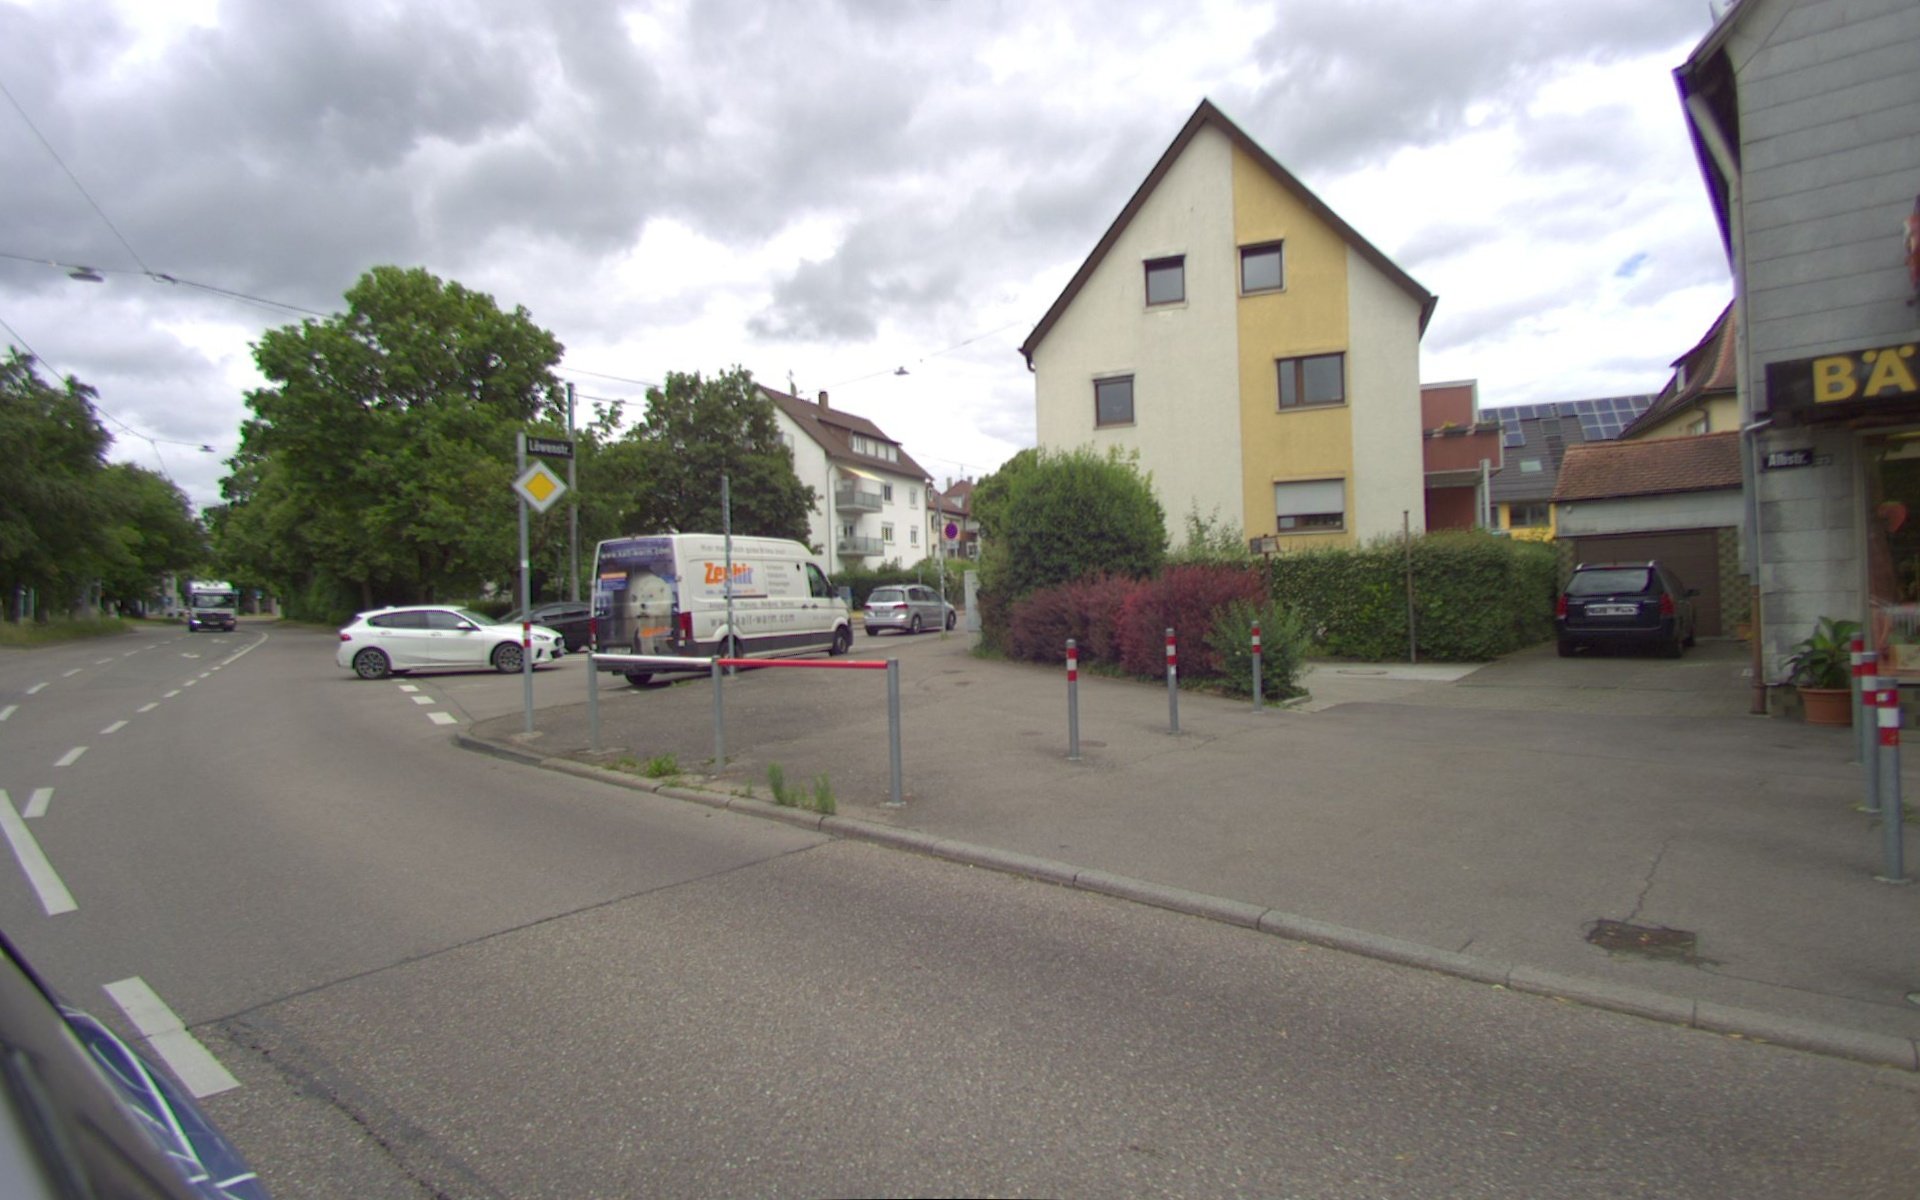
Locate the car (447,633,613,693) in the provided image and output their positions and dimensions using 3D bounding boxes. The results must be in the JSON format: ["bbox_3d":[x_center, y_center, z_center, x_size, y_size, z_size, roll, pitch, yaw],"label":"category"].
[{"bbox_3d":[-12.000,1.713,28.386,3.941,1.346,1.645,-3,-1,-44],"label":"car"}]

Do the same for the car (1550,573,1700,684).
[{"bbox_3d":[11.466,0.416,17.355,1.842,1.570,3.649,-1,2,38],"label":"car"}]

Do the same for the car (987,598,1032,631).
[{"bbox_3d":[3.092,0.888,62.434,1.766,1.763,3.980,-5,0,16],"label":"car"}]

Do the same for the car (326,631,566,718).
[{"bbox_3d":[-10.746,1.531,21.436,4.140,1.529,1.805,-2,0,-8],"label":"car"}]

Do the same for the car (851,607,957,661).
[{"bbox_3d":[-1.752,1.079,33.083,1.916,1.586,3.970,-3,-1,22],"label":"car"}]

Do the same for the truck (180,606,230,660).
[{"bbox_3d":[-47.999,2.073,64.390,2.398,3.219,6.481,-1,-1,-37],"label":"truck"}]

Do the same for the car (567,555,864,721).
[{"bbox_3d":[-4.236,0.582,19.327,2.068,2.541,6.938,-4,0,18],"label":"car"}]
